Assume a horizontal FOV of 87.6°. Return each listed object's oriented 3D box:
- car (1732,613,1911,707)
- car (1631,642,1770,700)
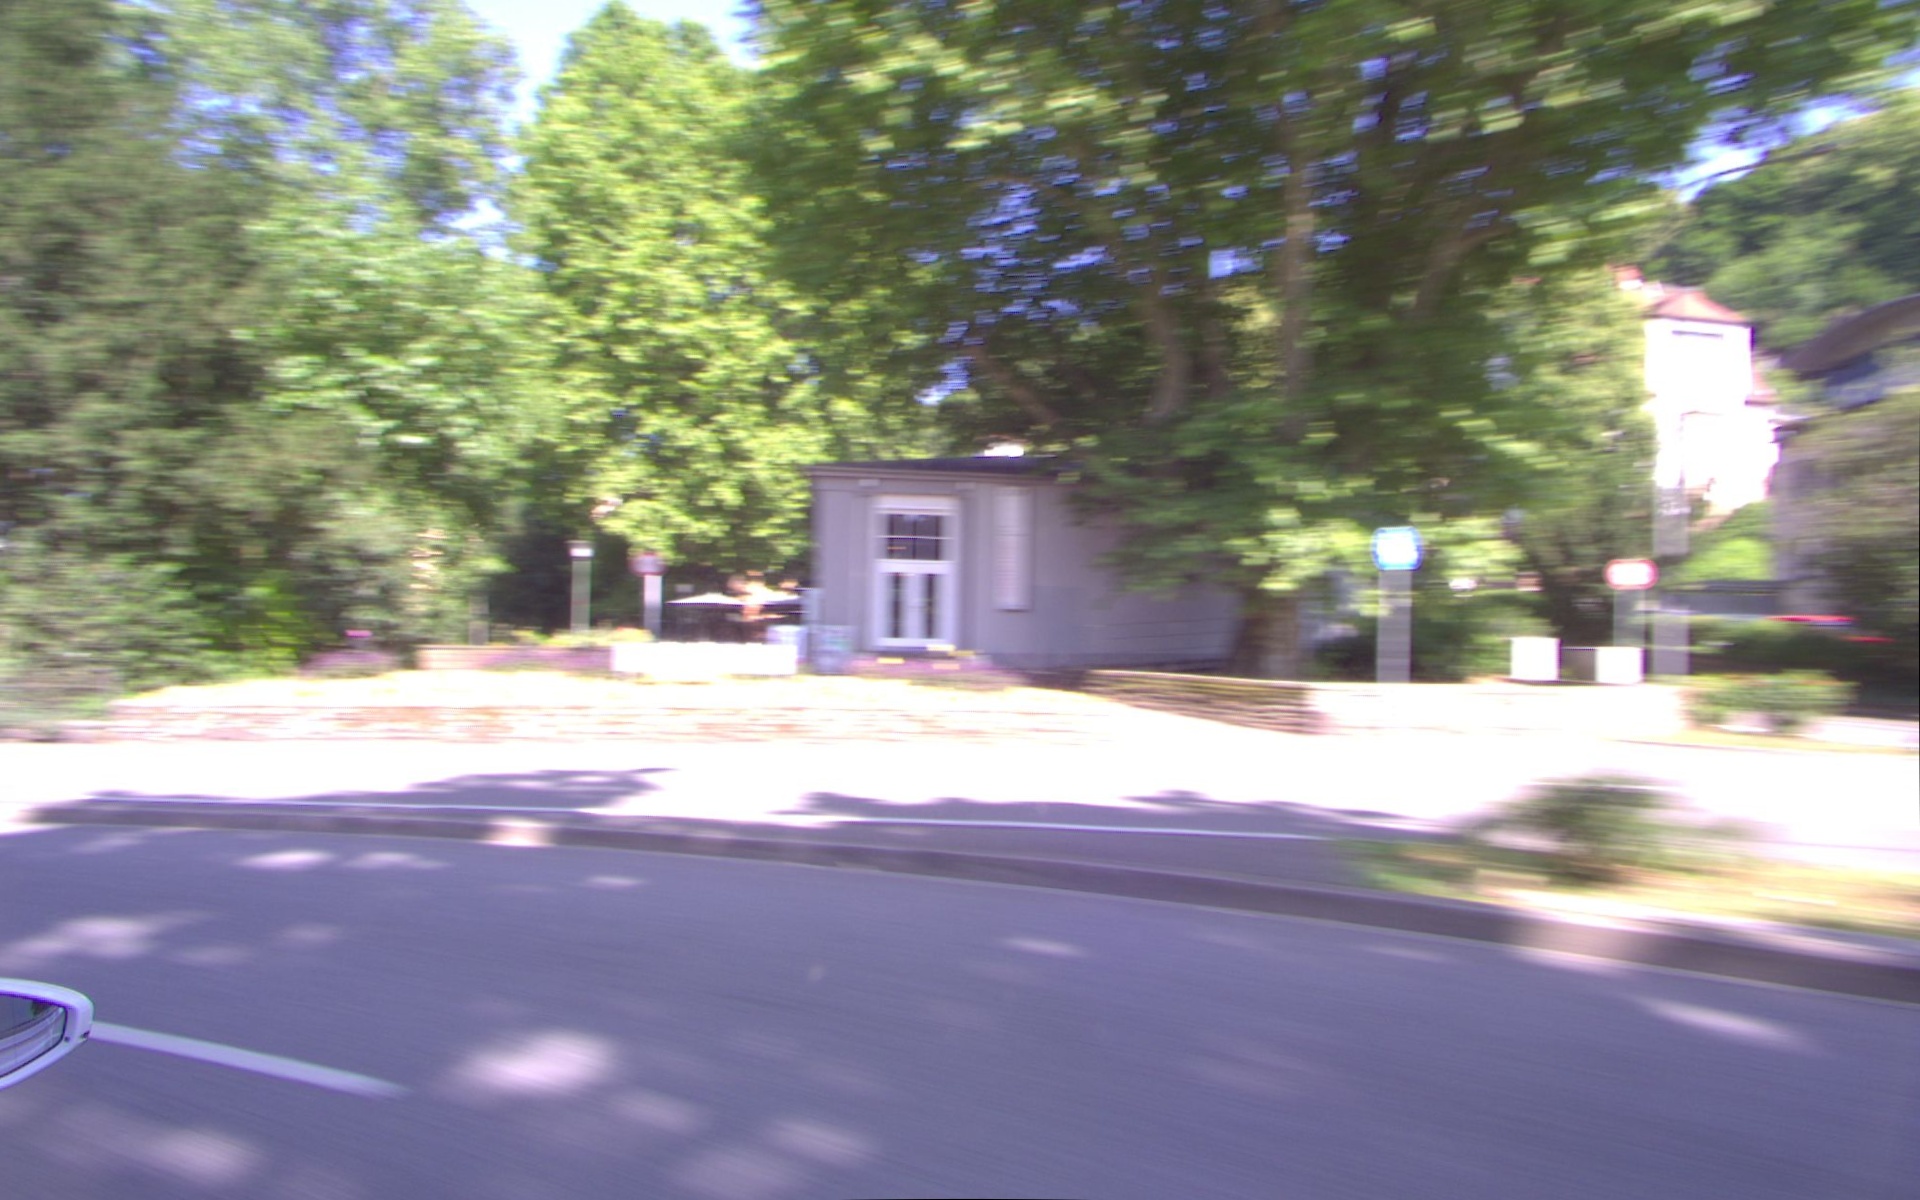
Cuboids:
[{"bbox_3d":[25.621,1.797,29.996,1.900,2.603,4.004,1,-3,1],"label":"car"},{"bbox_3d":[25.719,2.451,34.952,1.900,1.885,4.004,1,-3,1],"label":"car"}]
